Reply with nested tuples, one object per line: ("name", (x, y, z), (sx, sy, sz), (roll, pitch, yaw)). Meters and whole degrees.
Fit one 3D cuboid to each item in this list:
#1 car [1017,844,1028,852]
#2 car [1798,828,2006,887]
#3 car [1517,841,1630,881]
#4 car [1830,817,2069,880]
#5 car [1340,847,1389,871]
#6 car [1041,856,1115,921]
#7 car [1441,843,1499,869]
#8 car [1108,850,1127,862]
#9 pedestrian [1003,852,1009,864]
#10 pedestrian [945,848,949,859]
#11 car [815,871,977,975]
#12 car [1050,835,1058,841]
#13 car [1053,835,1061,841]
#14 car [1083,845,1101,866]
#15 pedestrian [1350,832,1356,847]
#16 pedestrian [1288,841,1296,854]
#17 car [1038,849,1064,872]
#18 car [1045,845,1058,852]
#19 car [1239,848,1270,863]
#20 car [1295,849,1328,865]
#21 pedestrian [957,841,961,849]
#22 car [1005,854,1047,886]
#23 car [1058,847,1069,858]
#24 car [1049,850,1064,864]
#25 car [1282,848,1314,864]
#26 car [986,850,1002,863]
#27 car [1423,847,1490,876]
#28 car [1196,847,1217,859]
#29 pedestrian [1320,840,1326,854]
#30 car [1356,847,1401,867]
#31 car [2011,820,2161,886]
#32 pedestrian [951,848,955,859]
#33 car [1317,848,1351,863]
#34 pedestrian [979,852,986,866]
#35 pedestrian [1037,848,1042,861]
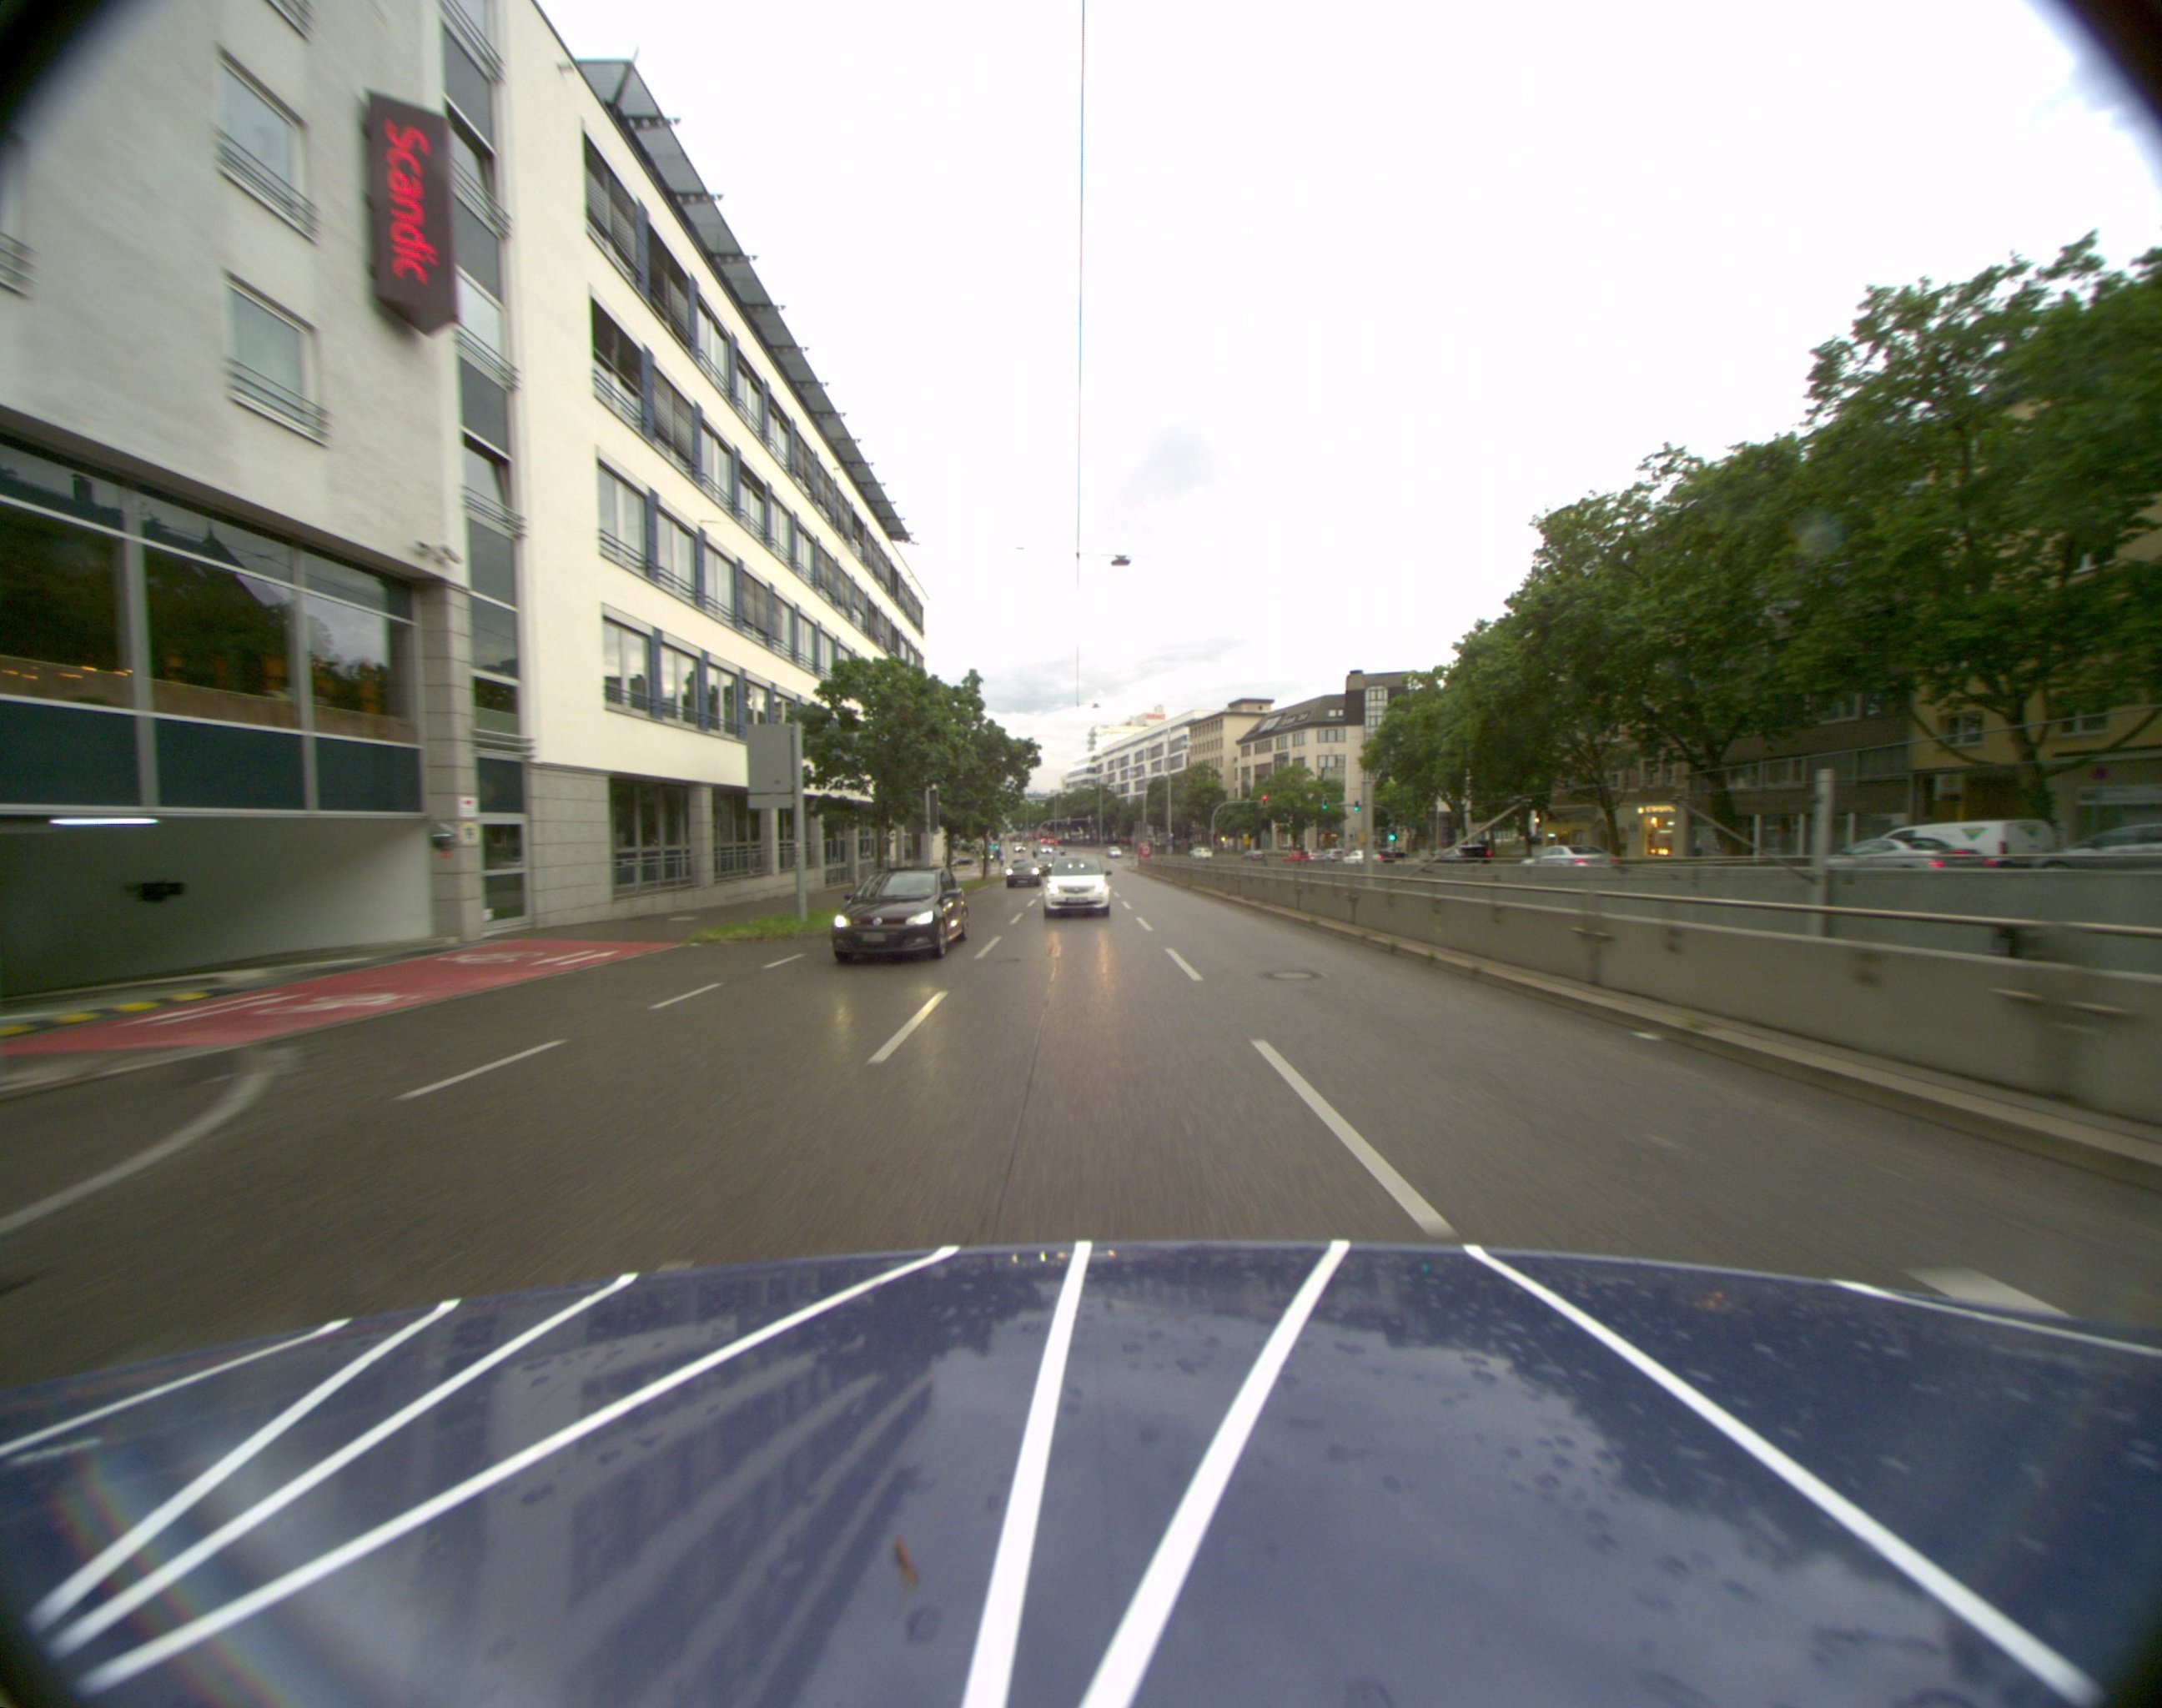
("car", (-12.721, -1.270, 164.401), (1.800, 1.502, 3.995), (-3, 1, -12))
("car", (23.618, 0.089, 22.115), (1.850, 1.501, 4.018), (-2, 0, 4))
("car", (20.963, 0.282, 32.601), (1.851, 1.501, 4.822), (-2, 0, 2))
("car", (27.301, -0.150, 24.213), (1.882, 1.754, 4.900), (-2, 0, -2))
("car", (21.897, 0.348, 58.927), (1.799, 1.760, 4.729), (-1, 1, -4))
("car", (-0.057, 0.858, 20.651), (1.799, 1.528, 4.000), (-1, 1, 1))
("car", (25.227, 0.102, 49.446), (1.798, 1.570, 4.017), (-2, 0, 2))
("car", (5.595, 0.294, 116.358), (1.800, 1.733, 3.995), (-3, 1, -12))
("pedestrian", (-9.388, 0.447, 95.134), (0.588, 1.469, 0.603), (-3, 2, -21))
("pedestrian", (-20.047, -0.099, 113.738), (0.588, 1.600, 0.603), (-3, 2, -14))
("car", (-2.933, 1.042, 12.909), (1.677, 1.391, 3.849), (-2, 0, 2))
("car", (-8.673, -5.119, 243.404), (1.800, 1.502, 3.995), (-3, 1, -12))
("car", (-7.422, -4.977, 236.040), (1.800, 1.502, 3.995), (-3, 1, -12))
("car", (1.121, 0.145, 81.649), (1.799, 2.021, 3.999), (-2, 1, 0))
("pedestrian", (33.342, -1.771, 93.152), (0.590, 1.799, 0.674), (-2, 2, 7))
("pedestrian", (29.836, -0.978, 107.252), (0.835, 1.774, 0.615), (-2, 2, -7))
("car", (-2.399, 0.487, 61.993), (1.798, 1.657, 4.000), (-2, 1, 2))
("car", (-5.967, -1.119, 153.016), (1.800, 1.502, 3.995), (-3, 1, -12))
("car", (19.309, 0.168, 84.933), (1.800, 1.549, 4.831), (-1, 1, -8))
("car", (23.701, 0.256, 78.320), (1.800, 1.502, 3.997), (-1, 1, -6))
("pedestrian", (-21.943, -1.595, 136.438), (0.588, 1.469, 0.603), (-3, 2, -21))
("car", (-2.861, 0.807, 40.075), (1.751, 1.433, 3.706), (-2, 1, 2))
("car", (-3.223, -0.263, 139.398), (1.799, 1.934, 3.998), (-2, 1, -3))
("car", (-3.440, 0.417, 107.714), (1.799, 1.934, 3.997), (-2, 1, -5))
("car", (20.961, 0.193, 73.434), (1.589, 1.393, 3.878), (-1, 1, -6))
("car", (-13.402, 0.374, 117.182), (1.798, 1.851, 4.291), (-2, 1, 1))
("car", (21.354, 0.371, 43.386), (1.798, 1.502, 4.344), (-1, 1, 2))
("car", (16.780, -0.166, 101.716), (1.800, 1.552, 3.997), (-1, 1, -7))
("pedestrian", (31.882, -0.948, 100.193), (0.604, 1.774, 0.526), (-2, 2, -7))
("car", (24.826, 0.225, 63.568), (1.800, 1.502, 3.997), (-3, 1, -7))
("car", (27.024, -0.047, 19.068), (1.881, 1.574, 4.473), (-2, 0, 1))
("pedestrian", (-19.207, -0.133, 113.933), (0.588, 1.600, 0.603), (-3, 2, -14))
("car", (26.839, 0.146, 80.725), (1.800, 1.502, 3.939), (-3, 1, -9))
("pedestrian", (-12.123, 0.611, 93.171), (0.707, 1.615, 0.644), (-2, 2, 2))
("pedestrian", (-5.903, 0.112, 108.841), (0.604, 1.792, 0.587), (-2, 2, -8))
